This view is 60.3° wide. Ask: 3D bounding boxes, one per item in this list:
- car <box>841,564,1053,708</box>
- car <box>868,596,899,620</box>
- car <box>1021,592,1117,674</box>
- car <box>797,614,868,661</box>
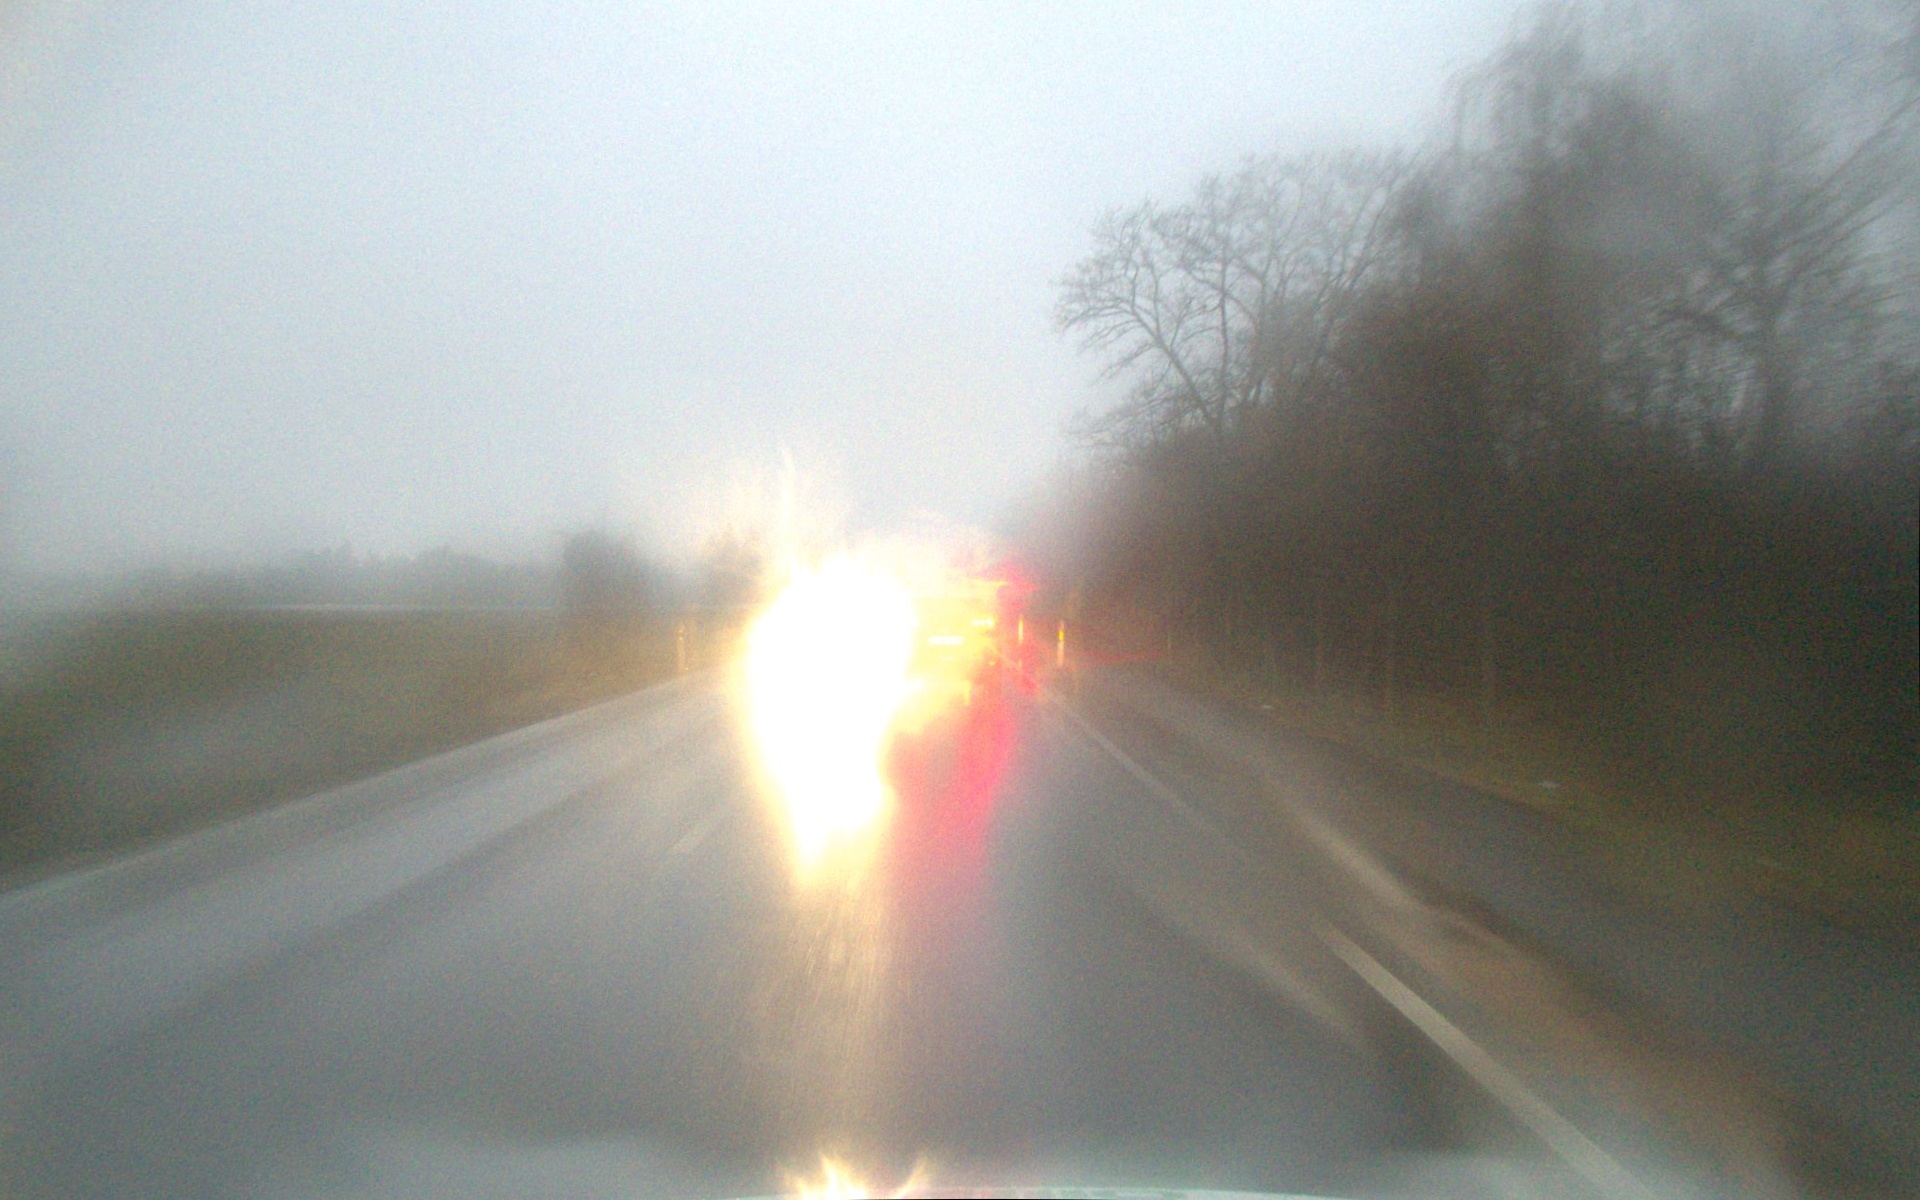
[{"bbox_3d":[-0.227,0.517,27.711,3.100,2.071,6.850,-1,0,-1],"label":"car"},{"bbox_3d":[-5.235,0.556,113.740,1.953,1.489,4.351,-4,0,-1],"label":"car"},{"bbox_3d":[2.474,0.735,38.507,1.889,1.780,3.999,1,0,-1],"label":"car"},{"bbox_3d":[-3.997,1.152,52.385,1.953,1.396,4.397,1,0,-1],"label":"car"}]
